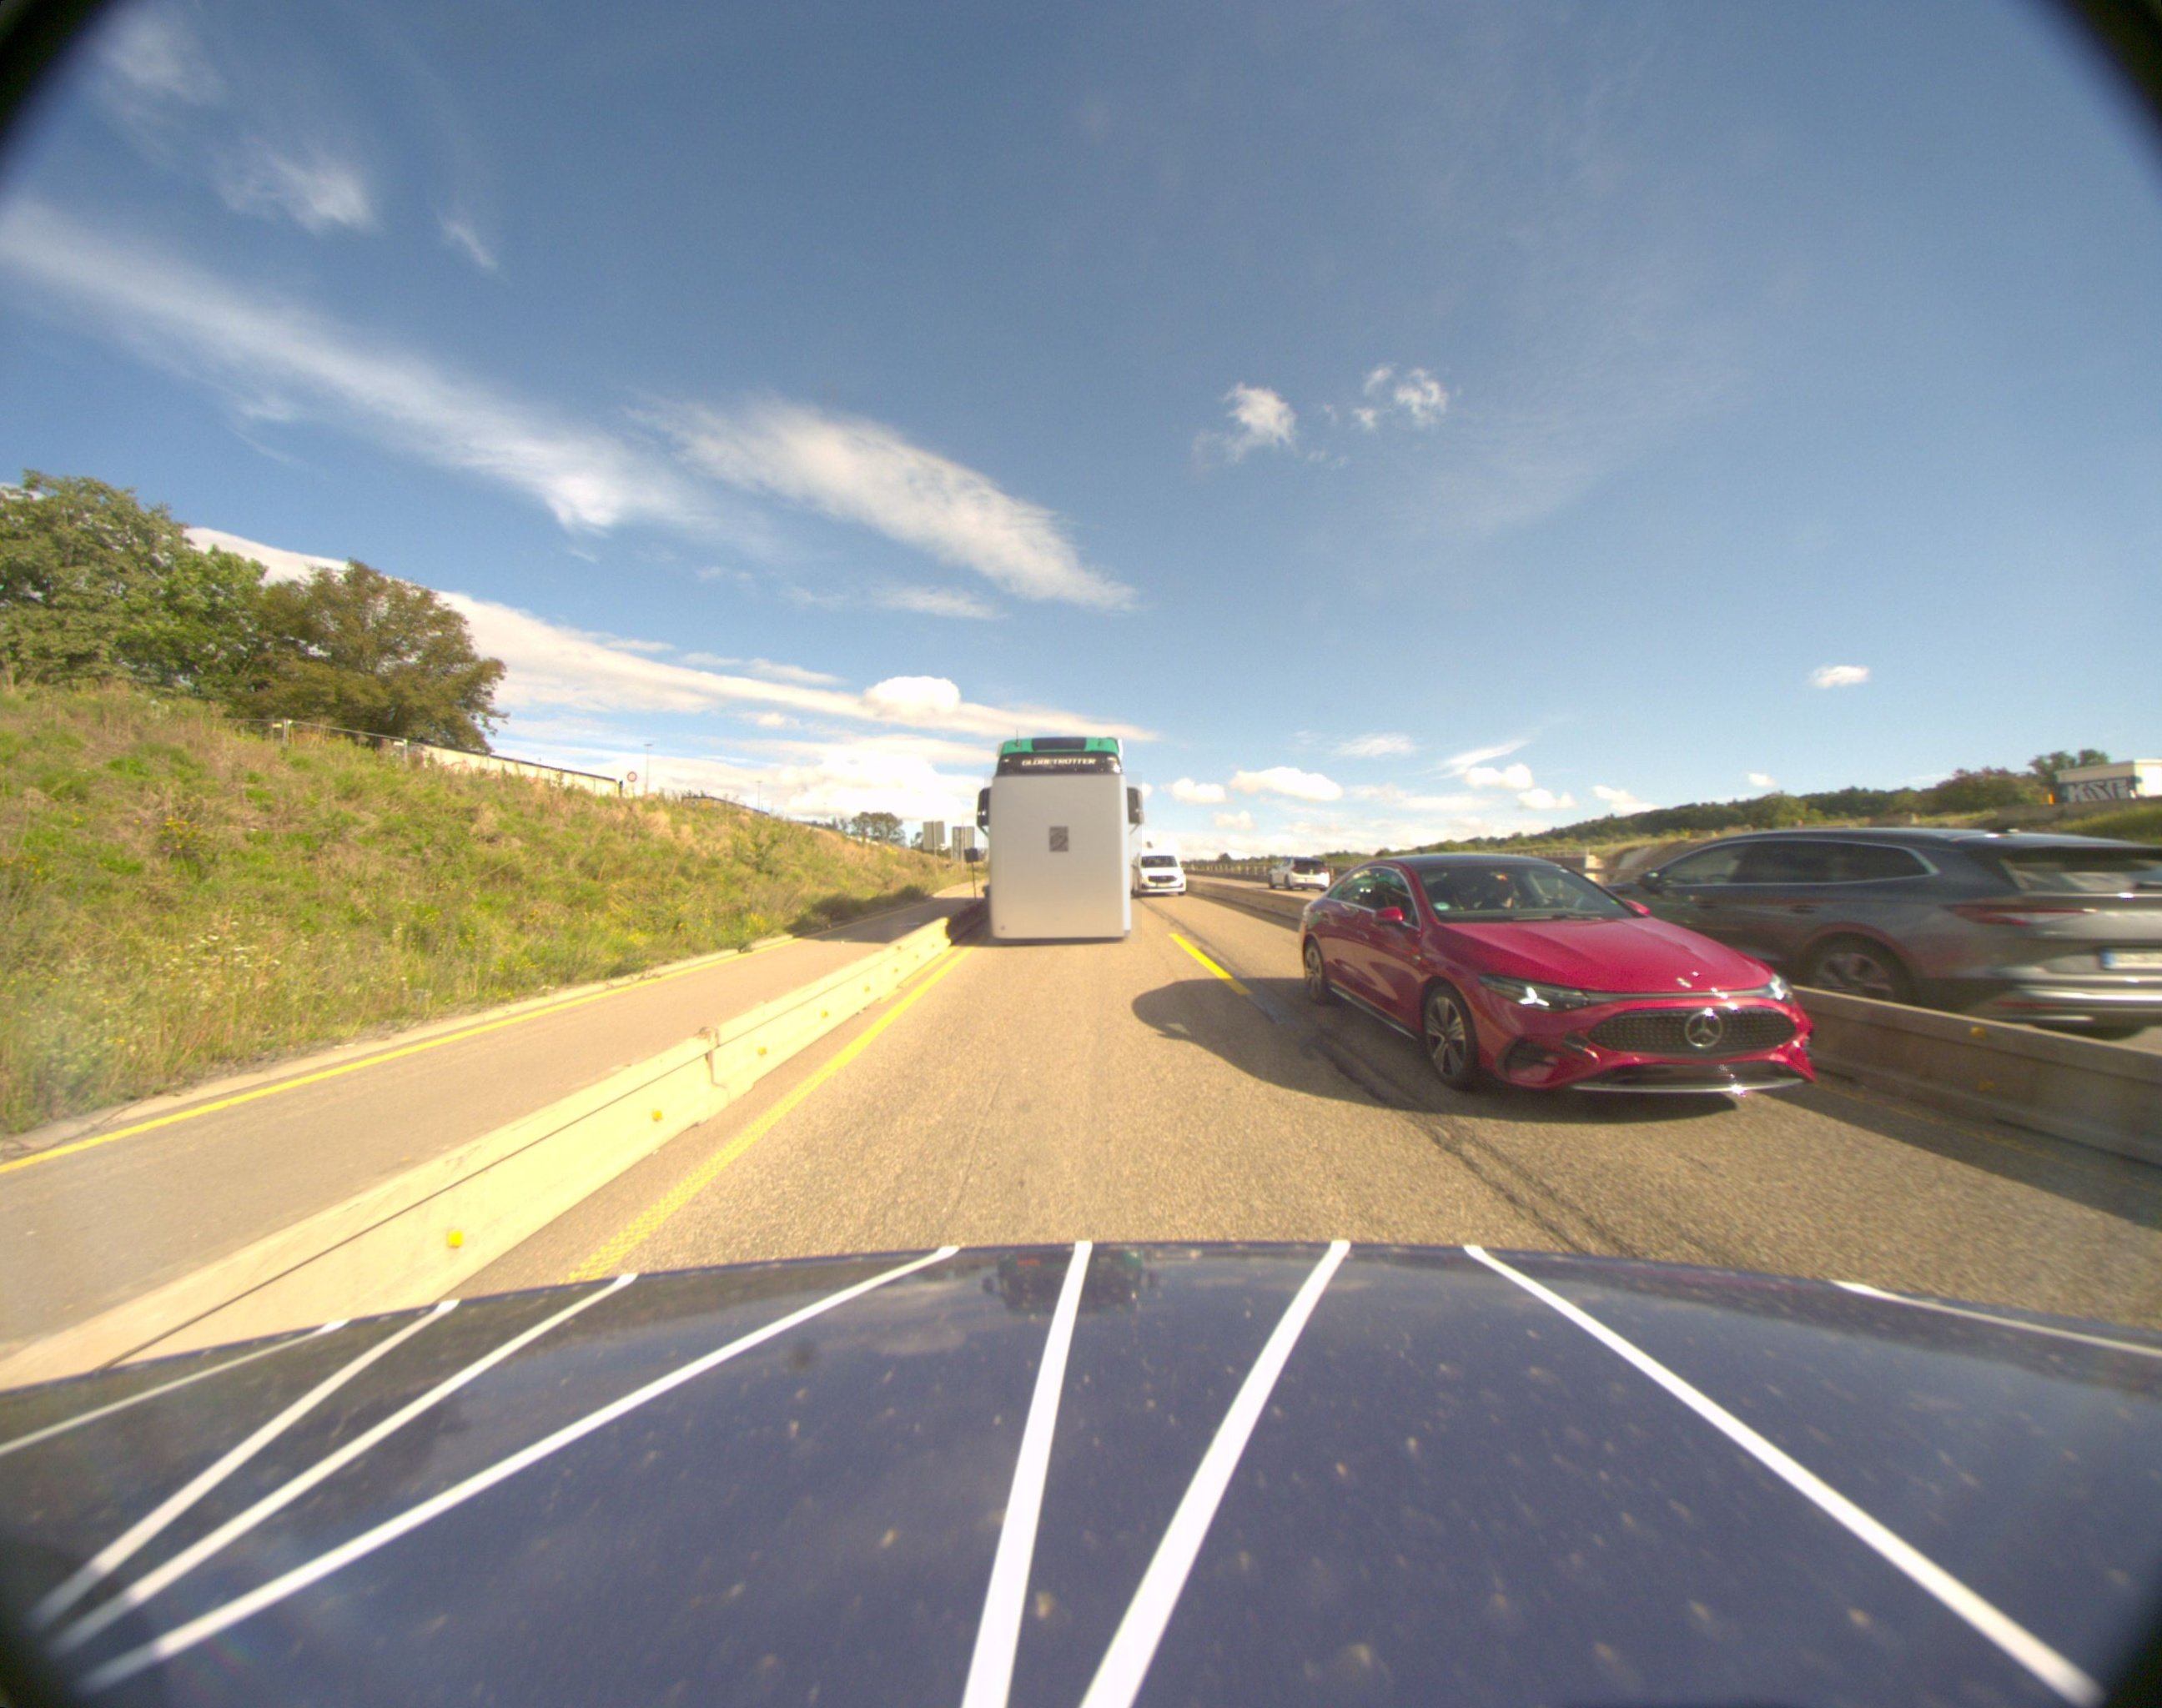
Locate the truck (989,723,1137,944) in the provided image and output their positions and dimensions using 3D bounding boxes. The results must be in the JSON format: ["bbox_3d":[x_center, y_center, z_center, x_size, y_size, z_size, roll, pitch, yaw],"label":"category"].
[{"bbox_3d":[-0.361,-0.380,17.759,2.546,3.899,8.278,-1,0,-1],"label":"truck"}]

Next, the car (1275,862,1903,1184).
[{"bbox_3d":[3.102,0.855,6.080,1.828,1.483,4.684,-2,0,-1],"label":"car"}]

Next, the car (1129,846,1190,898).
[{"bbox_3d":[2.984,0.673,29.916,1.828,1.813,4.456,-3,0,-1],"label":"car"}]

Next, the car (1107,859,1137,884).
[{"bbox_3d":[2.744,1.144,51.391,1.719,1.499,3.999,-2,0,0],"label":"car"}]

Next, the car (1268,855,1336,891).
[{"bbox_3d":[9.957,0.828,34.502,1.828,1.483,4.218,1,0,0],"label":"car"}]

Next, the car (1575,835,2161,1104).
[{"bbox_3d":[6.553,0.695,6.536,1.828,1.554,4.218,1,0,0],"label":"car"}]
